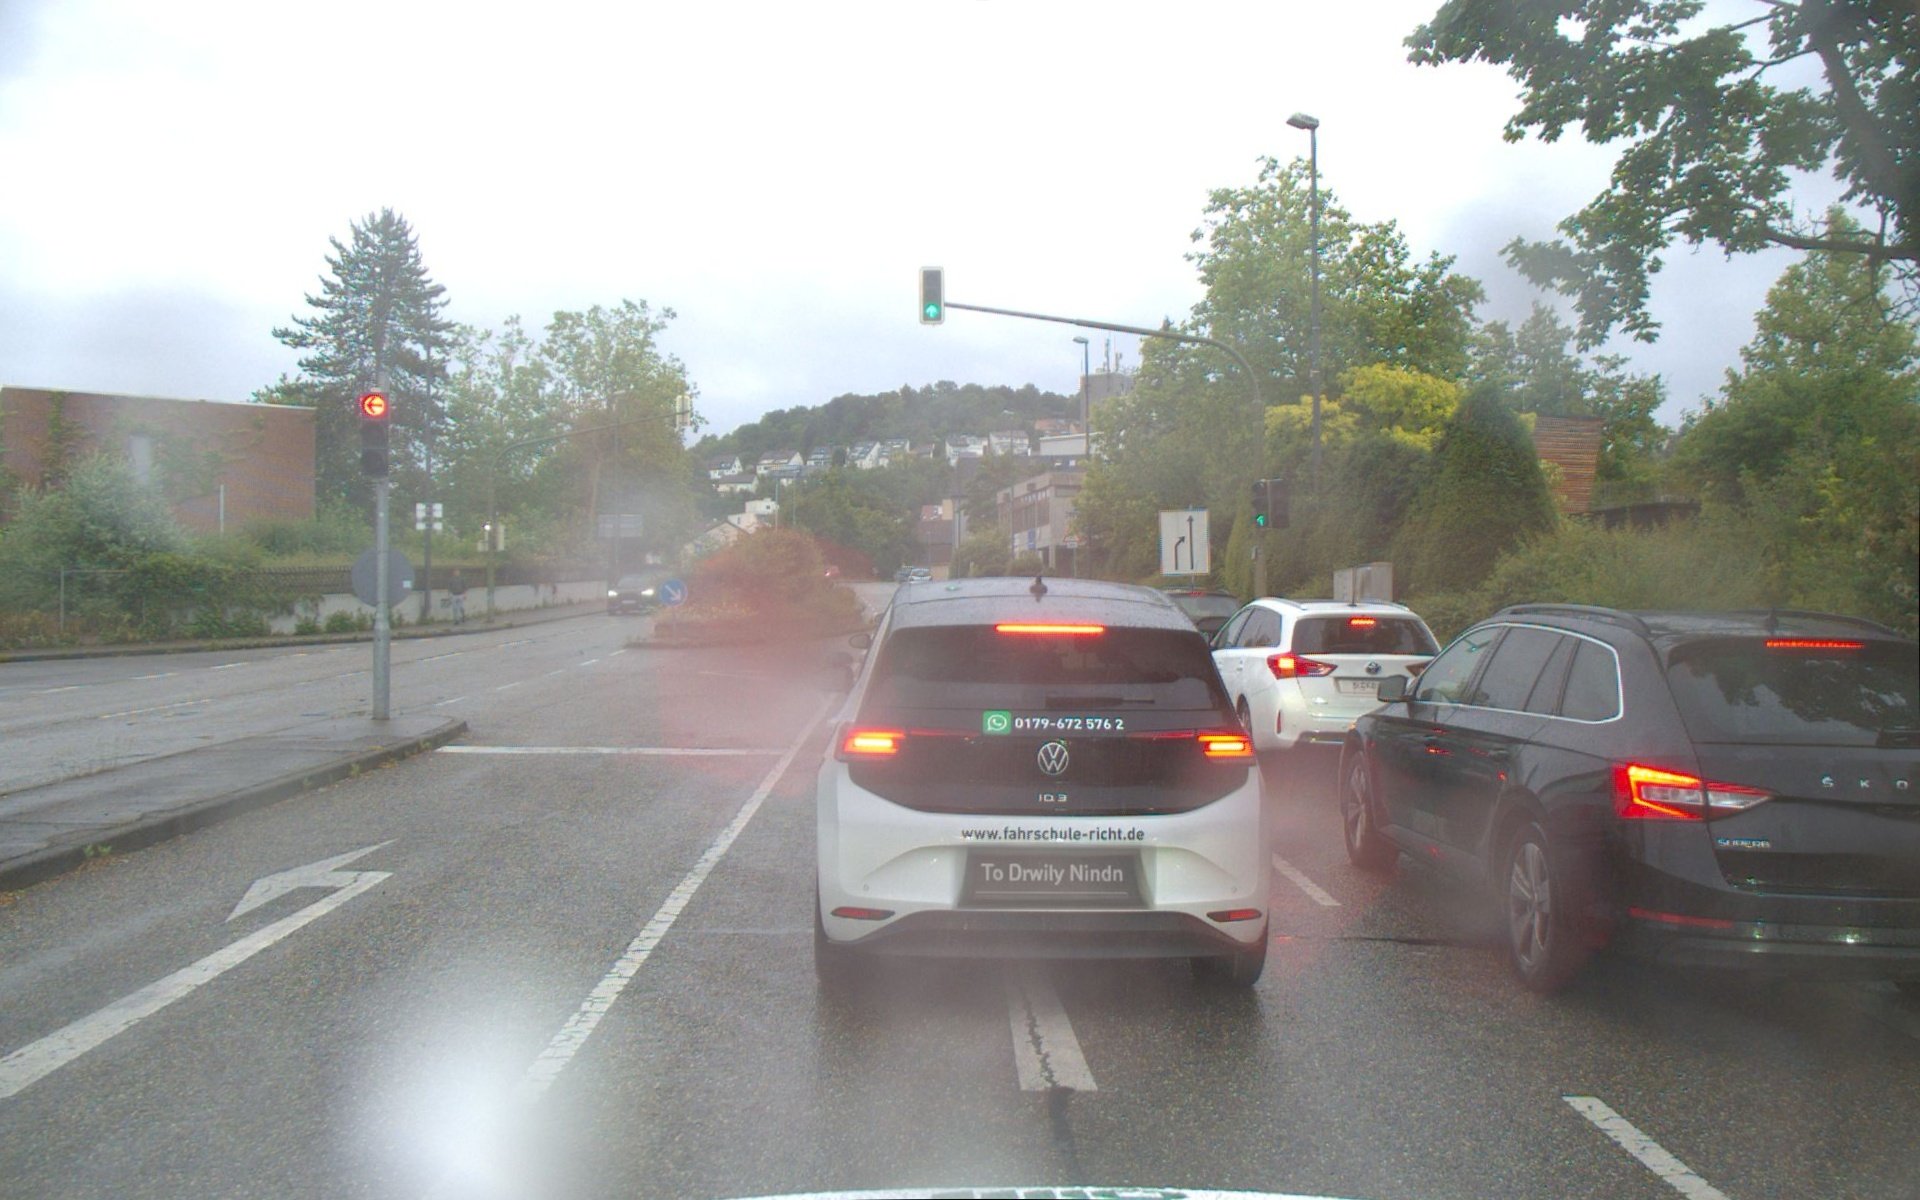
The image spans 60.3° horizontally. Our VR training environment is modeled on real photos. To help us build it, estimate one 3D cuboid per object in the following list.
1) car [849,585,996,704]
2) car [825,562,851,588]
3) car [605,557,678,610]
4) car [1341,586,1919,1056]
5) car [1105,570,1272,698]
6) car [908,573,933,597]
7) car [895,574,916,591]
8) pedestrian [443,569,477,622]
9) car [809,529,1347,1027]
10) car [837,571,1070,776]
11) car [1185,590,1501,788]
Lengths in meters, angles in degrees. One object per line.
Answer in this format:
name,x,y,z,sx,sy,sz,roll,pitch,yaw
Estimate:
car,-0.509,0.542,22.429,1.800,1.424,3.830,1,1,-1
car,-10.333,-2.084,140.093,1.953,2.049,3.999,1,-1,-1
car,-12.073,-0.609,62.887,1.953,1.836,3.999,-3,0,-1
car,3.125,0.708,7.524,1.800,1.492,4.350,1,1,1
car,3.127,0.445,23.348,1.739,1.609,3.999,1,0,-1
car,-2.533,-0.938,106.572,1.549,1.492,3.998,-1,0,-2
car,-4.669,-1.506,142.132,1.726,1.443,3.747,-1,1,-3
pedestrian,-15.437,-0.141,51.049,0.744,1.595,0.825,-2,0,-2
car,0.352,0.586,7.944,1.800,1.657,4.614,1,1,-1
car,-0.101,0.559,15.150,1.800,1.582,4.174,1,1,-1
car,3.289,0.684,15.033,1.800,1.492,4.116,1,1,-1
